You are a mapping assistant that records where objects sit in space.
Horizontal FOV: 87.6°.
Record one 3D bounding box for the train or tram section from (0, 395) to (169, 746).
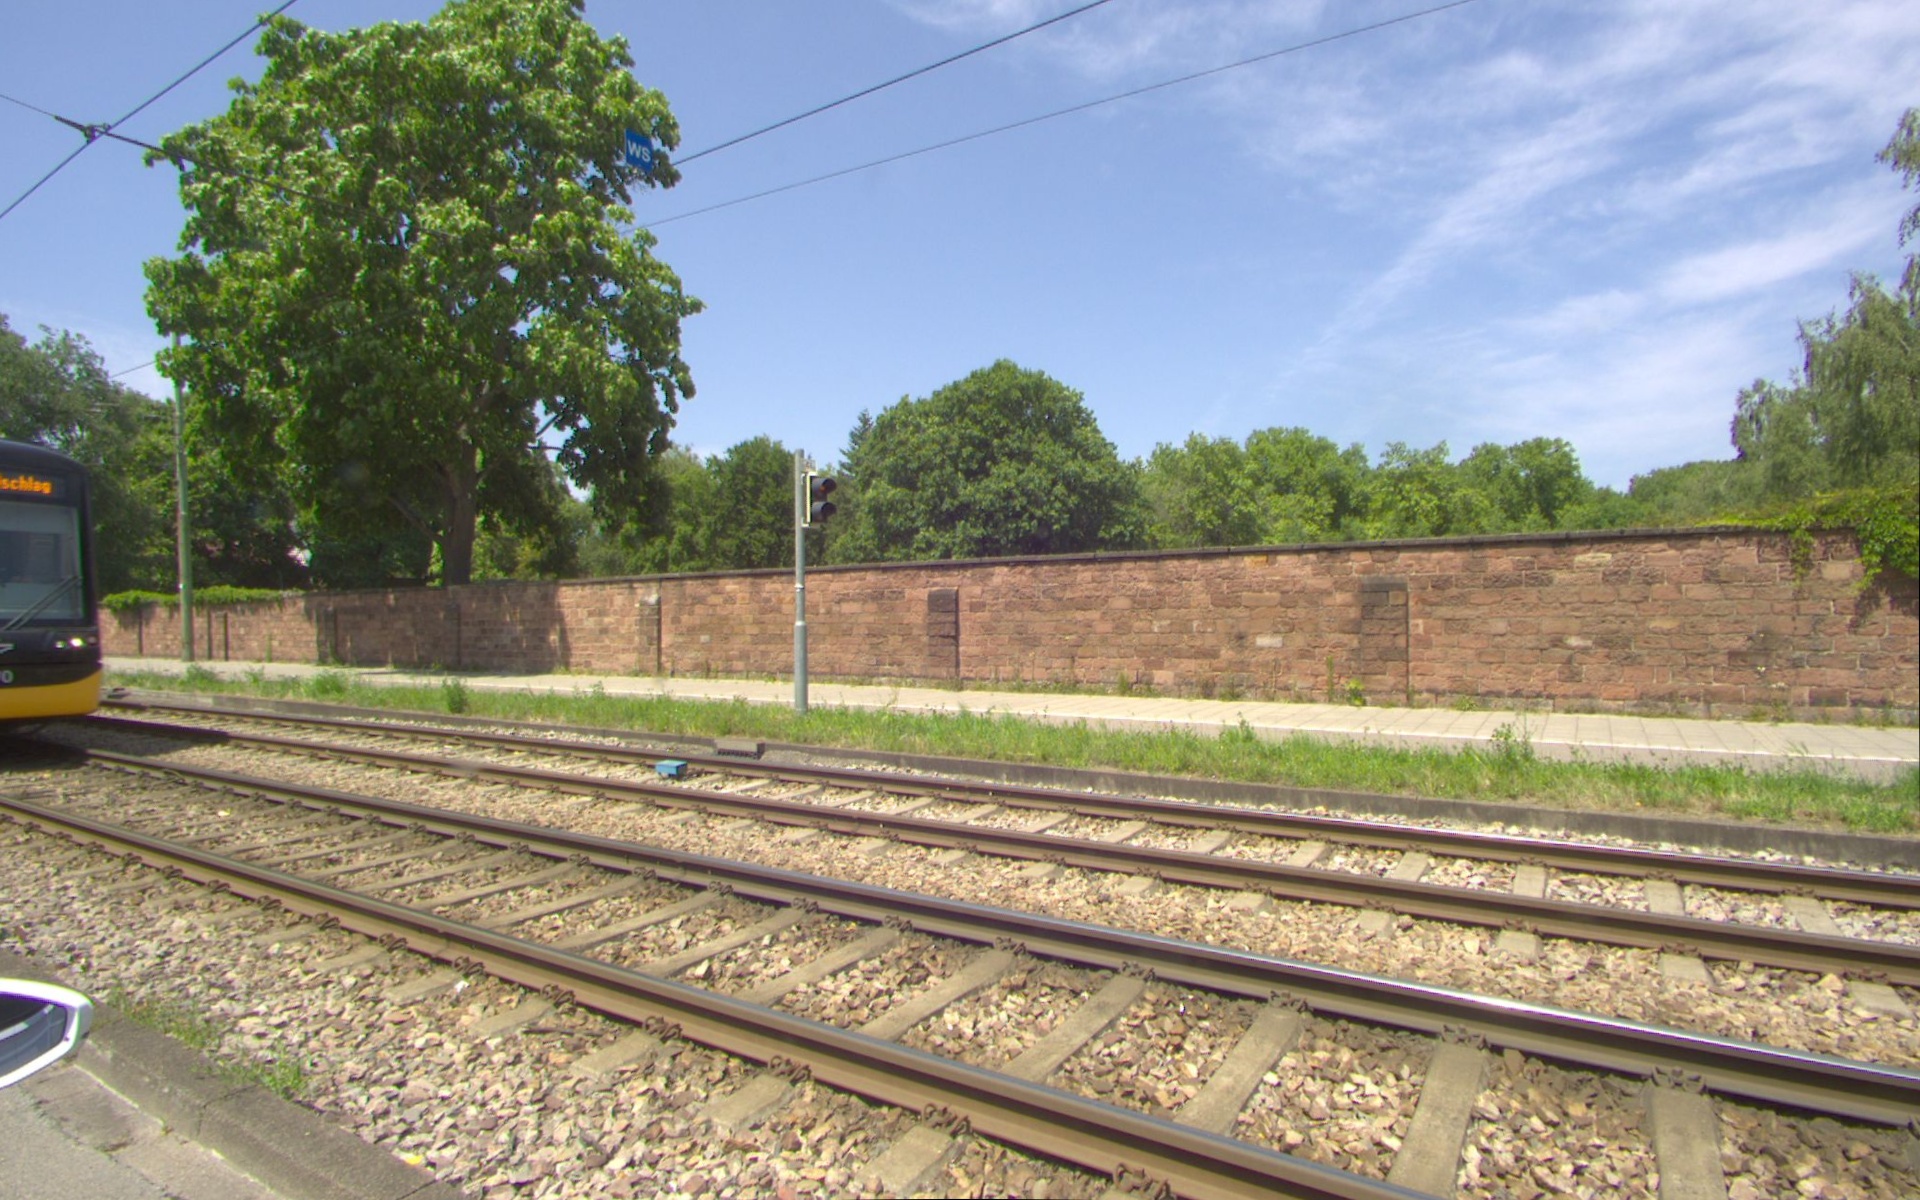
[{"bbox_3d":[-15.277,-0.244,13.932,12.688,3.655,2.736,-1,-2,33],"label":"train or tram section"}]
